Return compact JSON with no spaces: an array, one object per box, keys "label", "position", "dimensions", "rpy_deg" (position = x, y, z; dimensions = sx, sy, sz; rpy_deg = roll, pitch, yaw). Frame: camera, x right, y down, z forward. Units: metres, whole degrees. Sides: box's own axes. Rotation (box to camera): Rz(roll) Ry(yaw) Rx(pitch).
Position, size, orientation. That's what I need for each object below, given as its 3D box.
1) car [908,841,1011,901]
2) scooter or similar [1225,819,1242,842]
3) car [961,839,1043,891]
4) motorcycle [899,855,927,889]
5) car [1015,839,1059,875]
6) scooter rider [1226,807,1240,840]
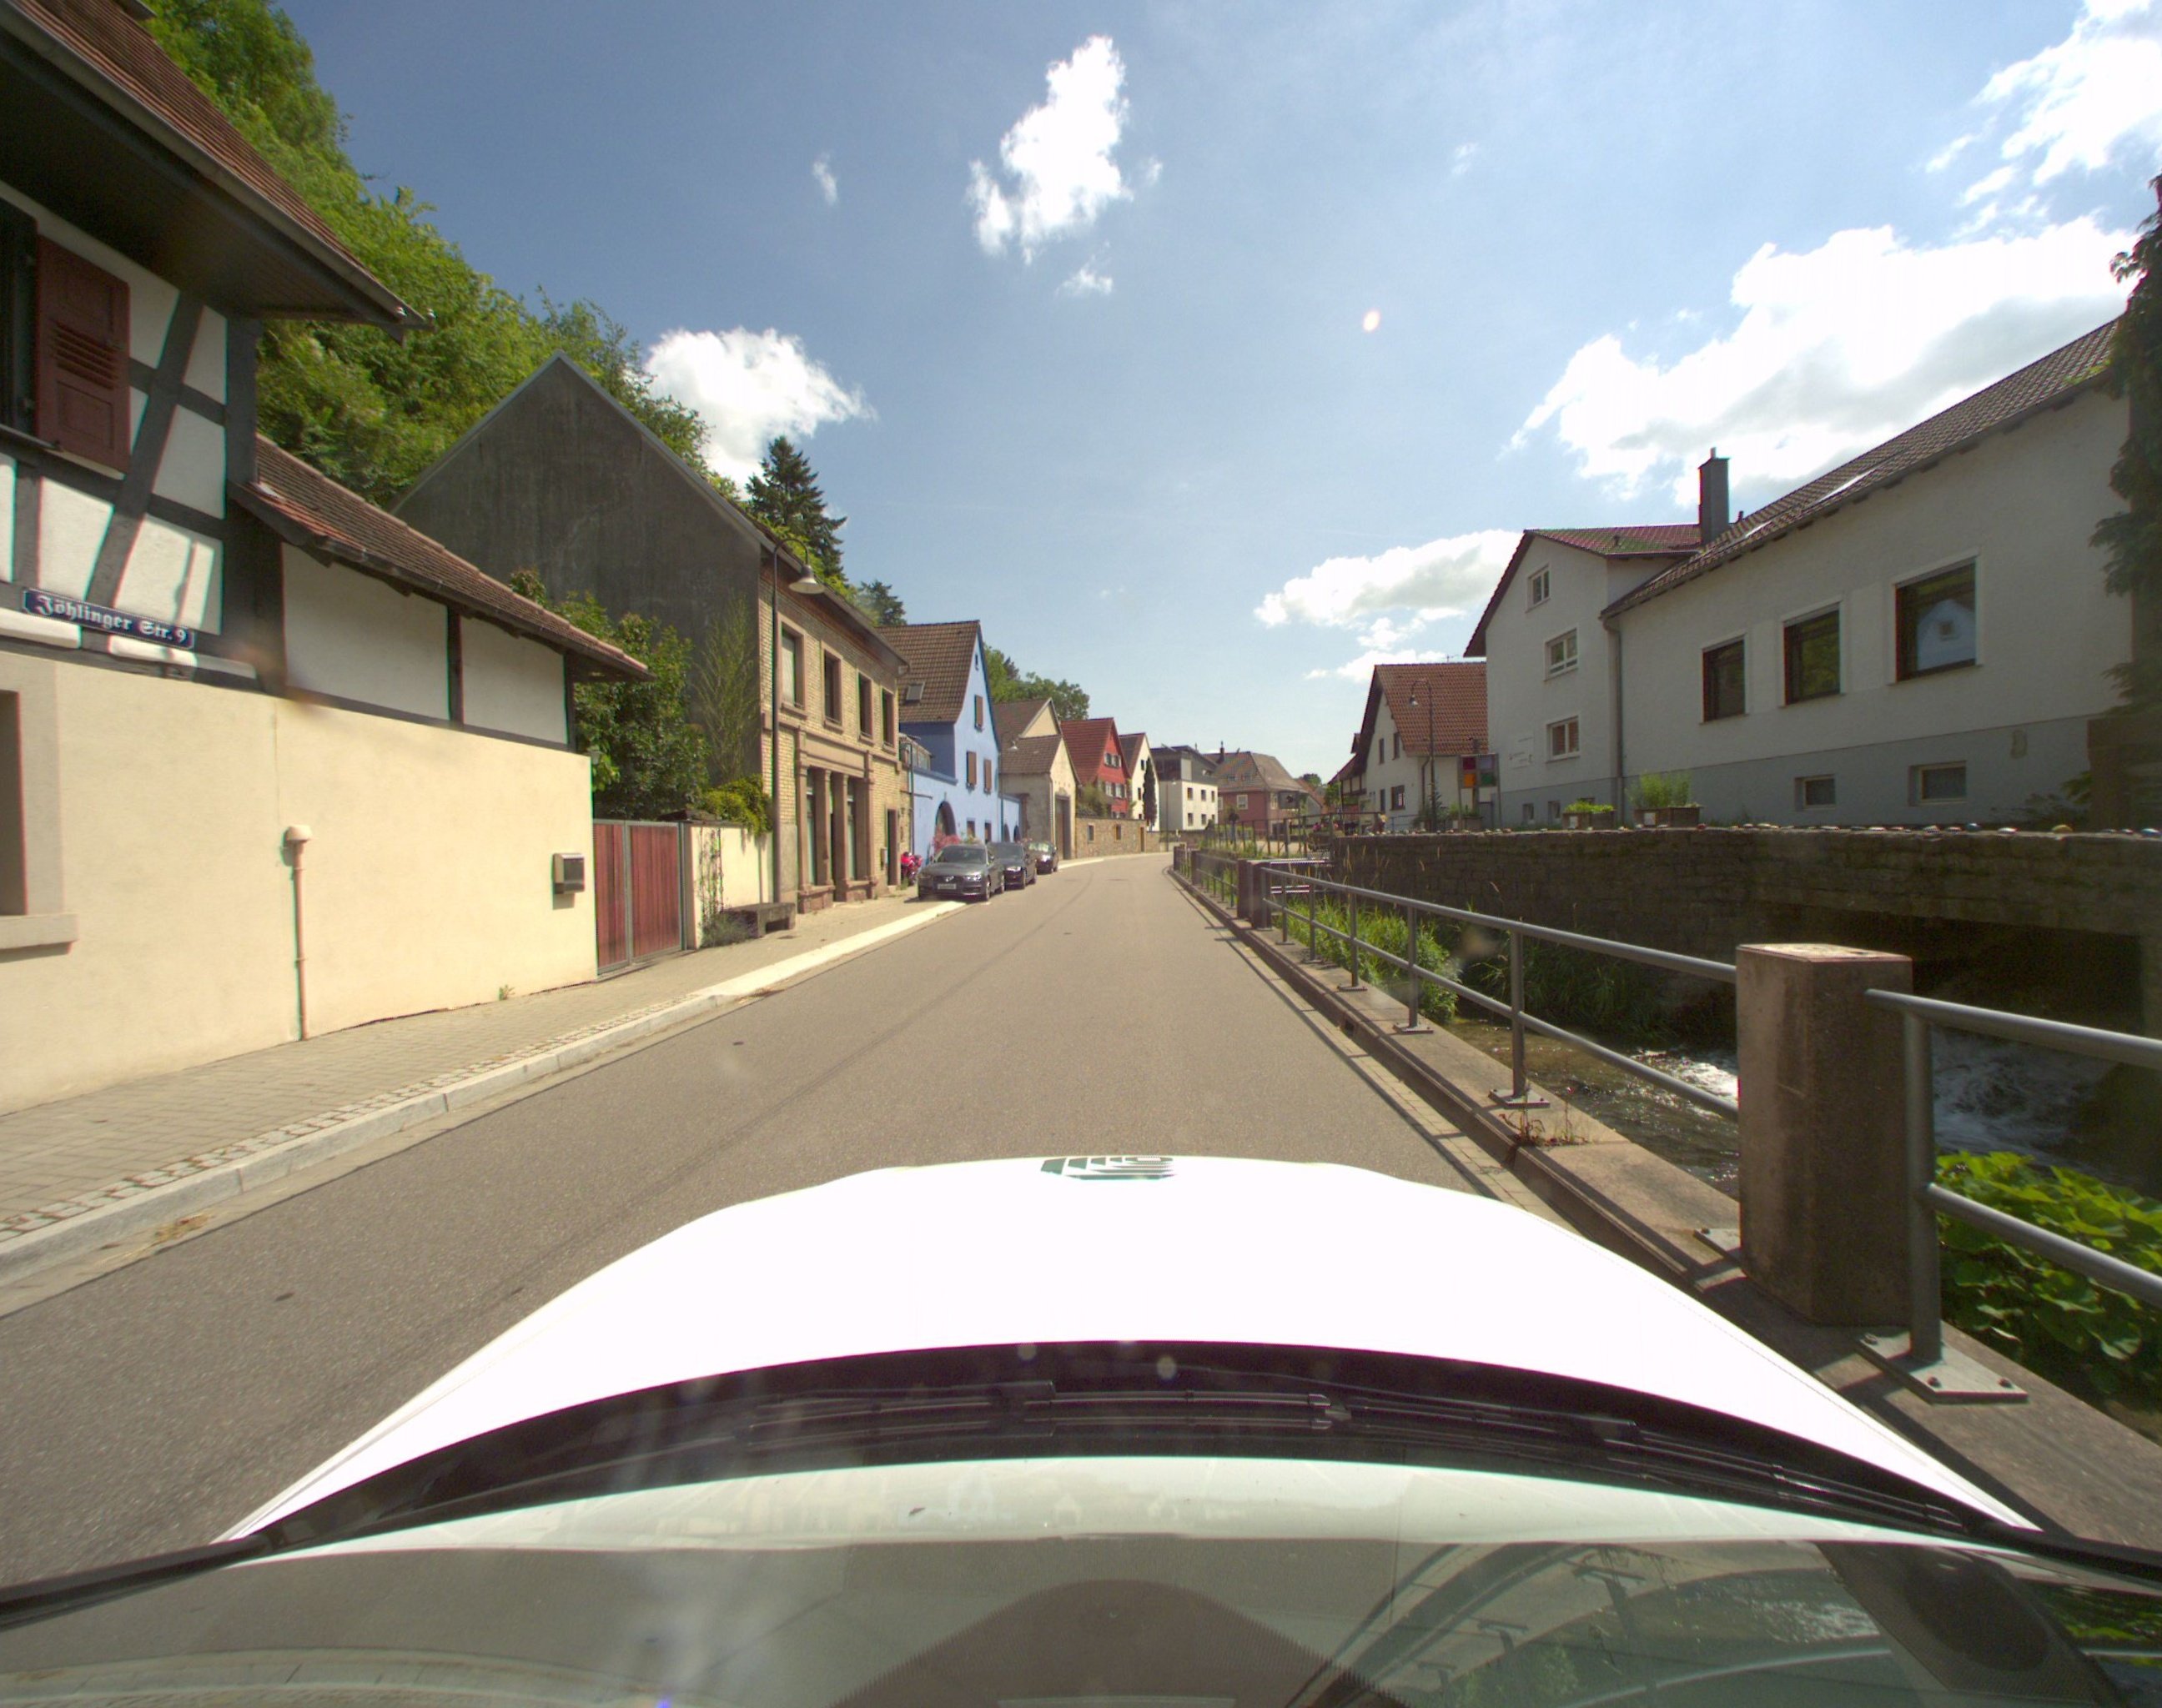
[{"label":"car","position":[-3.211,0.410,22.457],"dimensions":[1.949,1.465,4.548],"rpy_deg":[-1,0,2]},{"label":"scooter or similar","position":[7.974,-1.211,42.698],"dimensions":[0.638,1.142,1.813],"rpy_deg":[-3,1,4]},{"label":"car","position":[-2.530,0.287,27.246],"dimensions":[1.876,1.463,4.675],"rpy_deg":[2,2,4]},{"label":"motorcycle","position":[-5.349,0.544,26.010],"dimensions":[0.416,1.001,1.859],"rpy_deg":[3,1,2]},{"label":"car","position":[-1.982,0.105,37.669],"dimensions":[1.711,1.530,3.858],"rpy_deg":[-2,1,1]},{"label":"scooter rider","position":[7.963,-1.584,42.762],"dimensions":[0.638,1.731,0.555],"rpy_deg":[-1,1,4]}]
